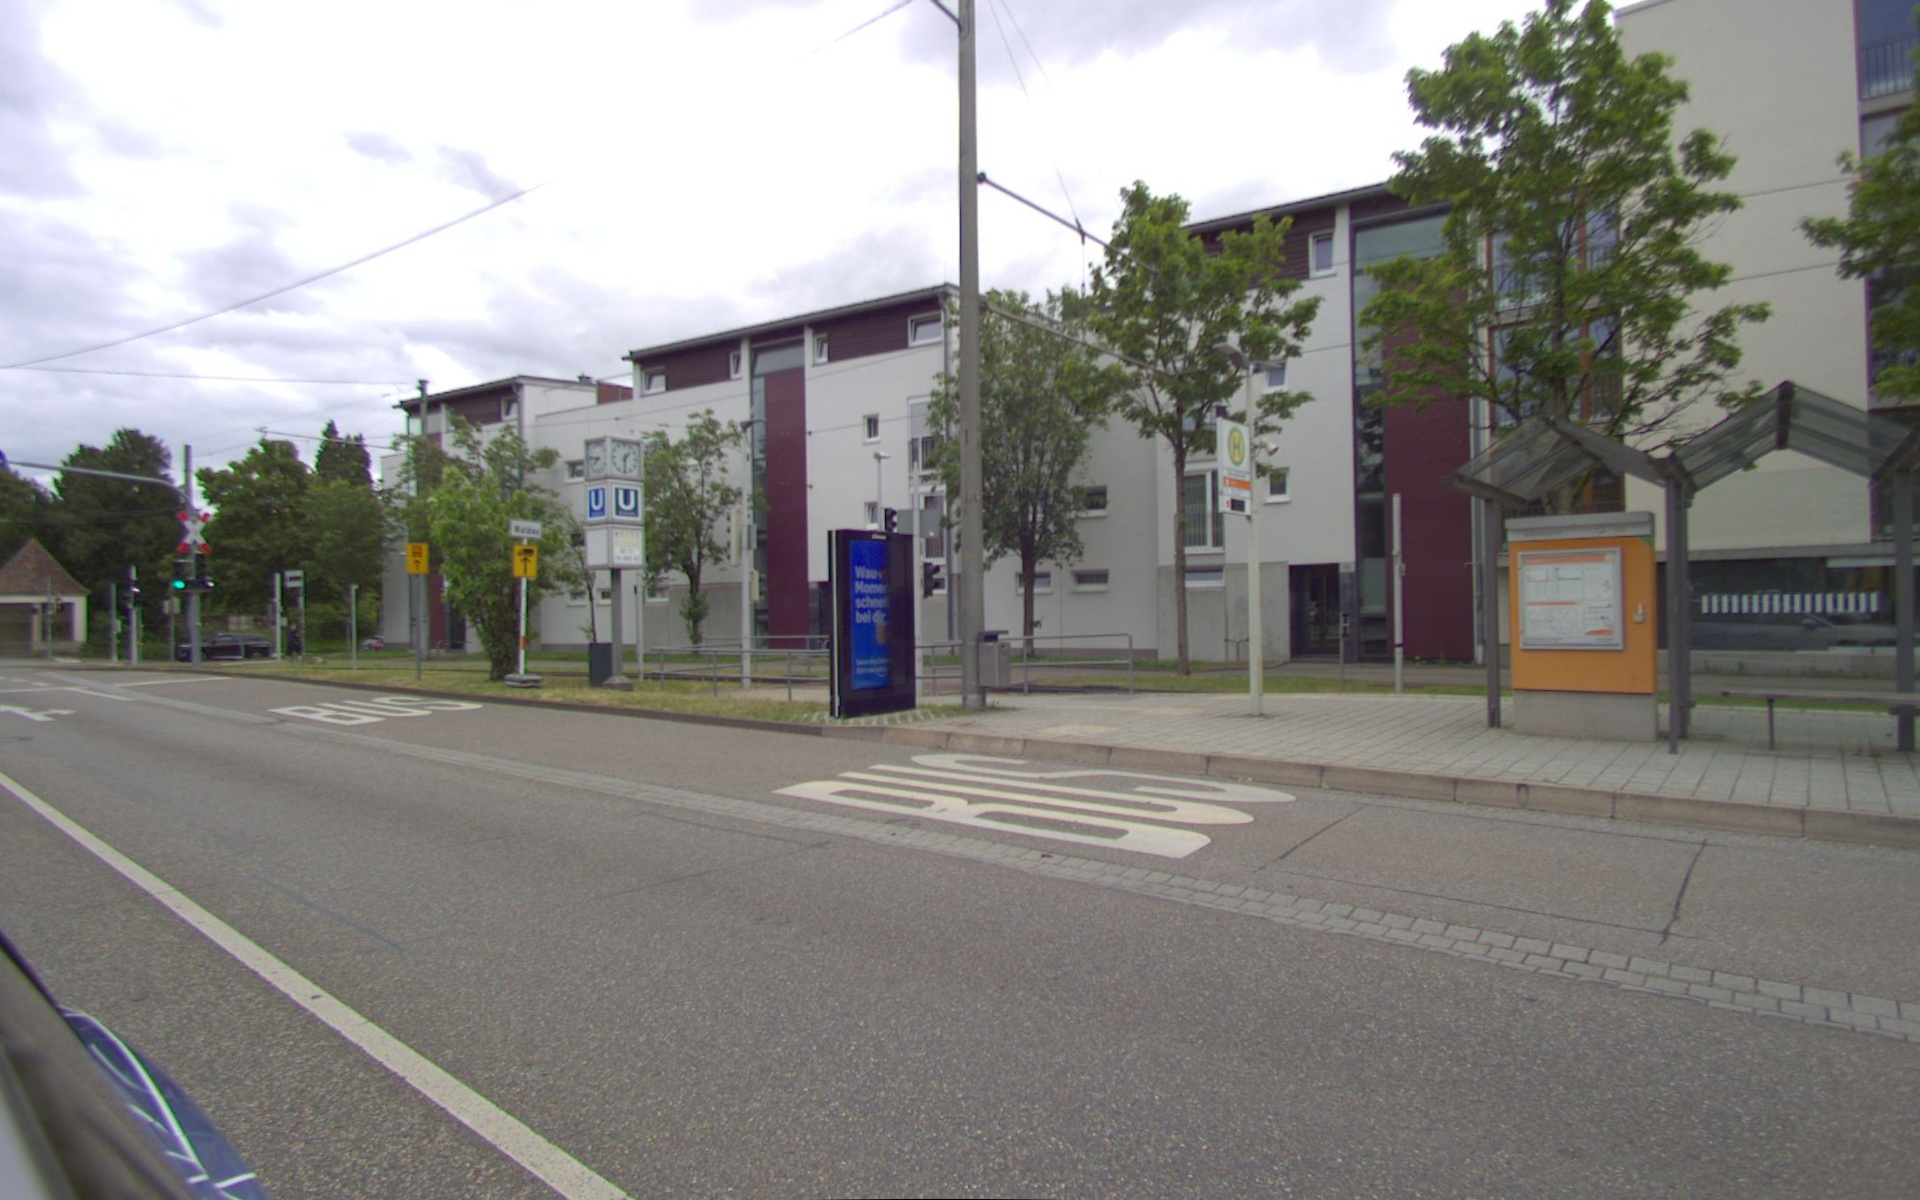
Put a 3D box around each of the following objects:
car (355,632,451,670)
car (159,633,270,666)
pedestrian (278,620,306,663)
[{"bbox_3d":[-32.421,2.999,58.977,1.994,2.029,4.419,-1,-5,33],"label":"car"},{"bbox_3d":[-40.922,2.736,55.645,1.959,1.682,4.439,-1,-4,32],"label":"car"},{"bbox_3d":[-26.850,1.670,40.702,0.817,1.657,0.669,-4,-4,34],"label":"pedestrian"}]
